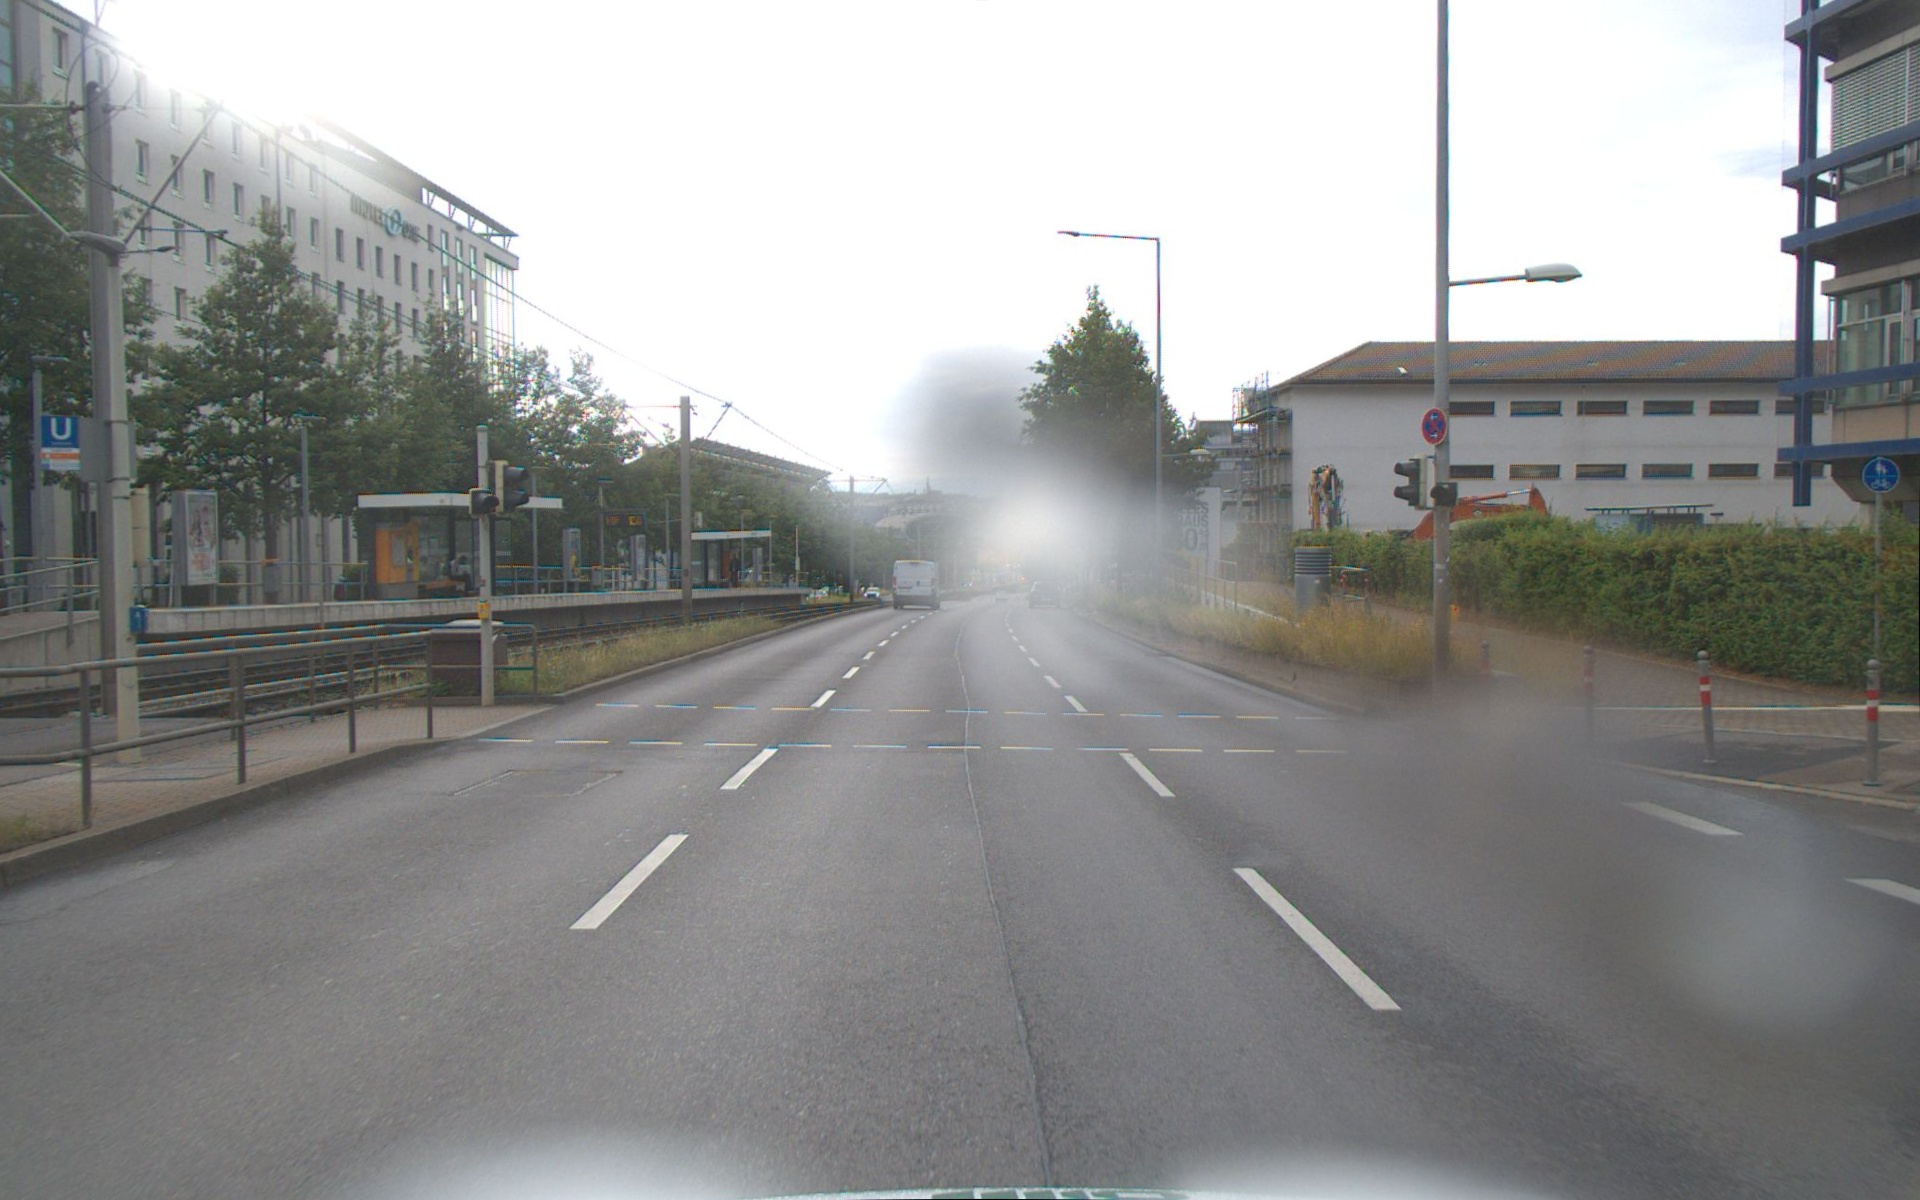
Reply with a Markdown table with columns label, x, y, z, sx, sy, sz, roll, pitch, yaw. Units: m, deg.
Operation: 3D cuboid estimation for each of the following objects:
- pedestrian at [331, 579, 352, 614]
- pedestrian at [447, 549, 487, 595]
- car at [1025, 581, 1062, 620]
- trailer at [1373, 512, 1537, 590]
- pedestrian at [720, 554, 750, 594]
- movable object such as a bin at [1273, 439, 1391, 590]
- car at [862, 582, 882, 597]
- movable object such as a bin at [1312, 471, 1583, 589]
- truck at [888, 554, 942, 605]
| label | x | y | z | sx | sy | sz | roll | pitch | yaw |
| --- | --- | --- | --- | --- | --- | --- | --- | --- | --- |
| pedestrian | -28.891 | -0.182 | 77.262 | 0.587 | 1.605 | 0.835 | 1 | 0 | 2 |
| pedestrian | -14.413 | -0.808 | 48.361 | 0.941 | 1.322 | 0.684 | 0 | 1 | 1 |
| car | 4.620 | 0.014 | 91.322 | 1.952 | 2.049 | 3.936 | 1 | 0 | 3 |
| trailer | 20.864 | -2.018 | 70.170 | 2.600 | 3.095 | 7.449 | 1 | 0 | -22 |
| pedestrian | -11.759 | -1.365 | 86.494 | 1.239 | 2.049 | 1.131 | 1 | 0 | 6 |
| movable object such as a bin | 15.340 | -3.365 | 68.865 | 3.221 | 5.784 | 8.767 | 1 | 0 | 3 |
| car | -11.102 | -1.325 | 208.113 | 1.952 | 1.879 | 5.004 | -1 | 1 | 3 |
| movable object such as a bin | 23.342 | -3.301 | 79.735 | 11.892 | 5.353 | 3.789 | -1 | 0 | 0 |
| truck | -2.137 | -0.958 | 79.534 | 2.311 | 2.301 | 5.306 | 1 | 0 | 1 |
